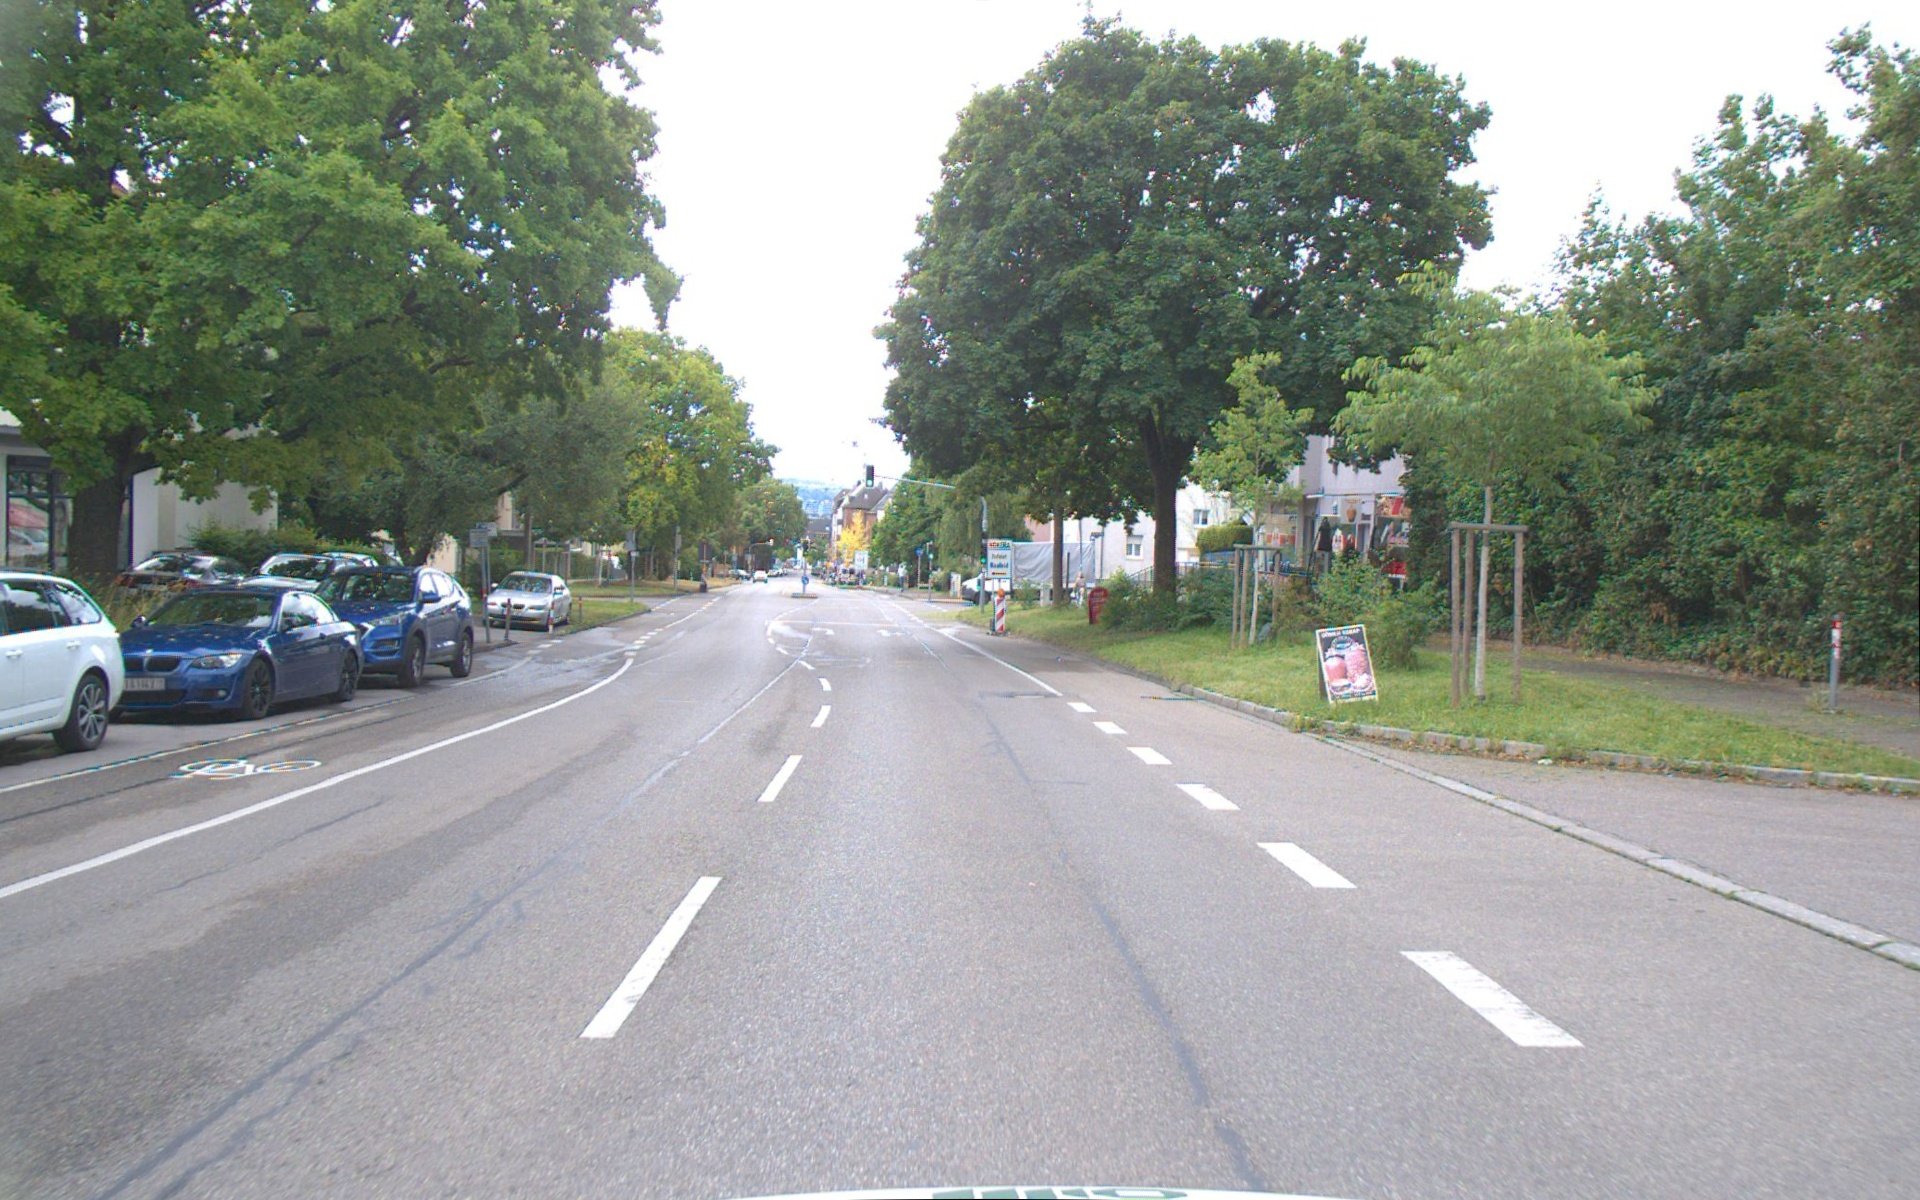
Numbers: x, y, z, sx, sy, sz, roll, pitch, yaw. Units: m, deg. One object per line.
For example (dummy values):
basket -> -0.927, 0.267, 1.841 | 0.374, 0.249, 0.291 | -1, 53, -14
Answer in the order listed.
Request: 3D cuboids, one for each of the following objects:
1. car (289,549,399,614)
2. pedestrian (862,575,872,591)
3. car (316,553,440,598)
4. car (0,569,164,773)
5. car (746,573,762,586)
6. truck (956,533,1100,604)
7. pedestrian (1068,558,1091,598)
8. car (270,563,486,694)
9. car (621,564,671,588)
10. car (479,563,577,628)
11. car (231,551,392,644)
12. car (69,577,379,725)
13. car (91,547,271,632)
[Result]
car -> -17.166, -0.510, 46.291 | 1.727, 1.661, 4.284 | 2, 0, -5
pedestrian -> -11.281, -2.099, 200.752 | 1.177, 1.841, 1.300 | 2, 0, -5
car -> -26.334, -1.107, 74.953 | 4.898, 1.845, 1.997 | 2, 0, -7
car -> -7.857, 0.494, 12.378 | 1.681, 1.485, 4.754 | 2, 0, -3
car -> -26.385, -2.591, 211.932 | 1.955, 1.531, 3.995 | 2, 0, -7
truck -> 3.463, -1.633, 85.534 | 7.085, 3.364, 2.538 | 2, 1, -5
pedestrian -> 5.802, -1.066, 80.300 | 0.737, 1.887, 0.949 | -1, 1, -20
car -> -8.253, 0.350, 23.878 | 1.681, 1.641, 4.532 | 2, 1, -3
car -> -23.030, -1.758, 121.279 | 3.384, 1.624, 1.997 | 2, 0, -7
car -> -12.033, -0.147, 46.337 | 1.727, 1.661, 4.749 | 2, 0, -4
car -> -13.241, -0.063, 34.018 | 1.726, 1.661, 3.999 | 4, 0, -2
car -> -7.976, 0.479, 18.385 | 1.681, 1.413, 4.336 | 1, 0, -3
car -> -15.793, -0.232, 33.794 | 1.727, 1.496, 4.437 | 4, 0, -4
